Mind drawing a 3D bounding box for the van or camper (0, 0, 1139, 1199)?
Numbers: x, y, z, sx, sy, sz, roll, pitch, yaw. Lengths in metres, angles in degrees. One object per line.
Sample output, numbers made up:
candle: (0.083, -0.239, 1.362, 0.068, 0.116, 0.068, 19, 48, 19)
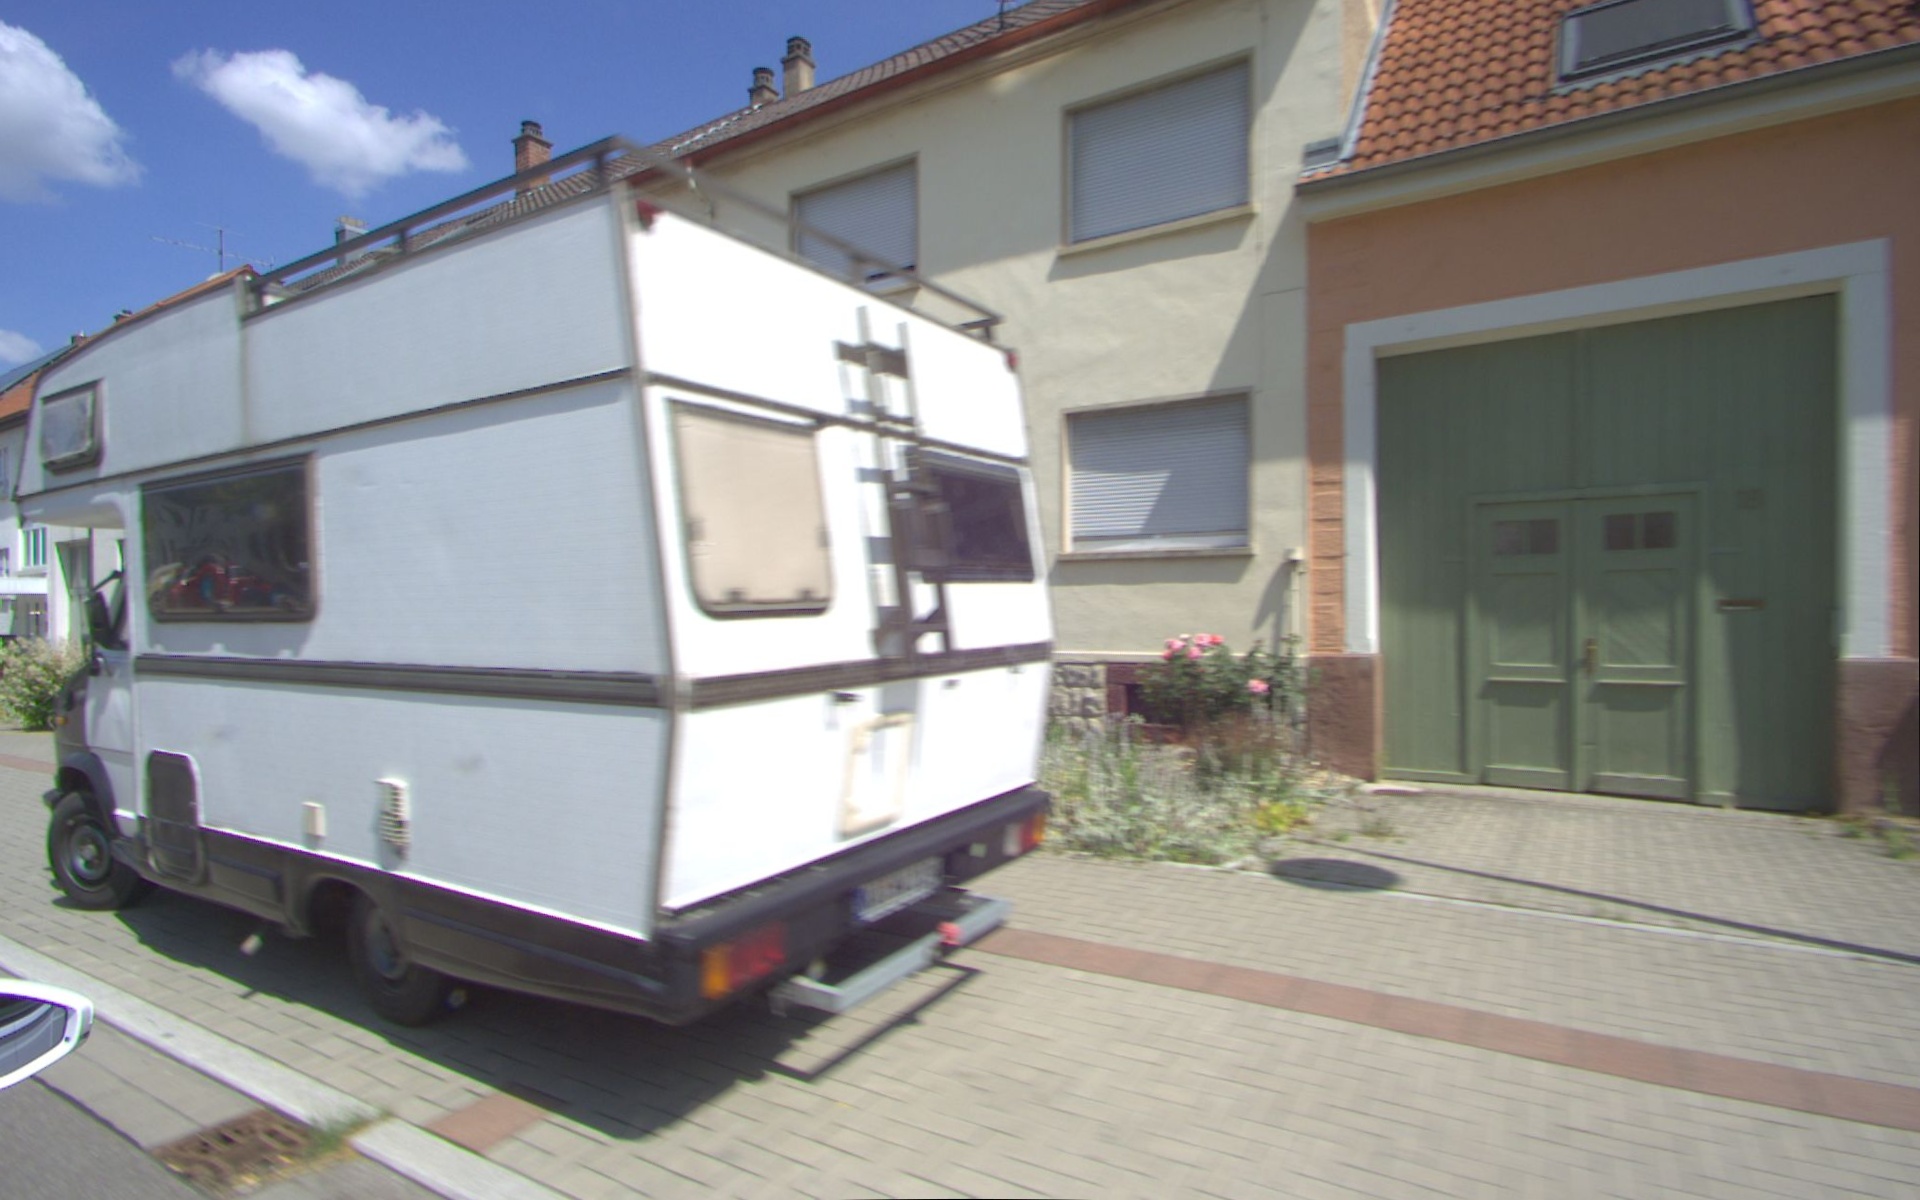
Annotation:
van or camper: (-2.273, 0.027, 4.889, 5.706, 2.848, 2.468, 0, 1, 32)
